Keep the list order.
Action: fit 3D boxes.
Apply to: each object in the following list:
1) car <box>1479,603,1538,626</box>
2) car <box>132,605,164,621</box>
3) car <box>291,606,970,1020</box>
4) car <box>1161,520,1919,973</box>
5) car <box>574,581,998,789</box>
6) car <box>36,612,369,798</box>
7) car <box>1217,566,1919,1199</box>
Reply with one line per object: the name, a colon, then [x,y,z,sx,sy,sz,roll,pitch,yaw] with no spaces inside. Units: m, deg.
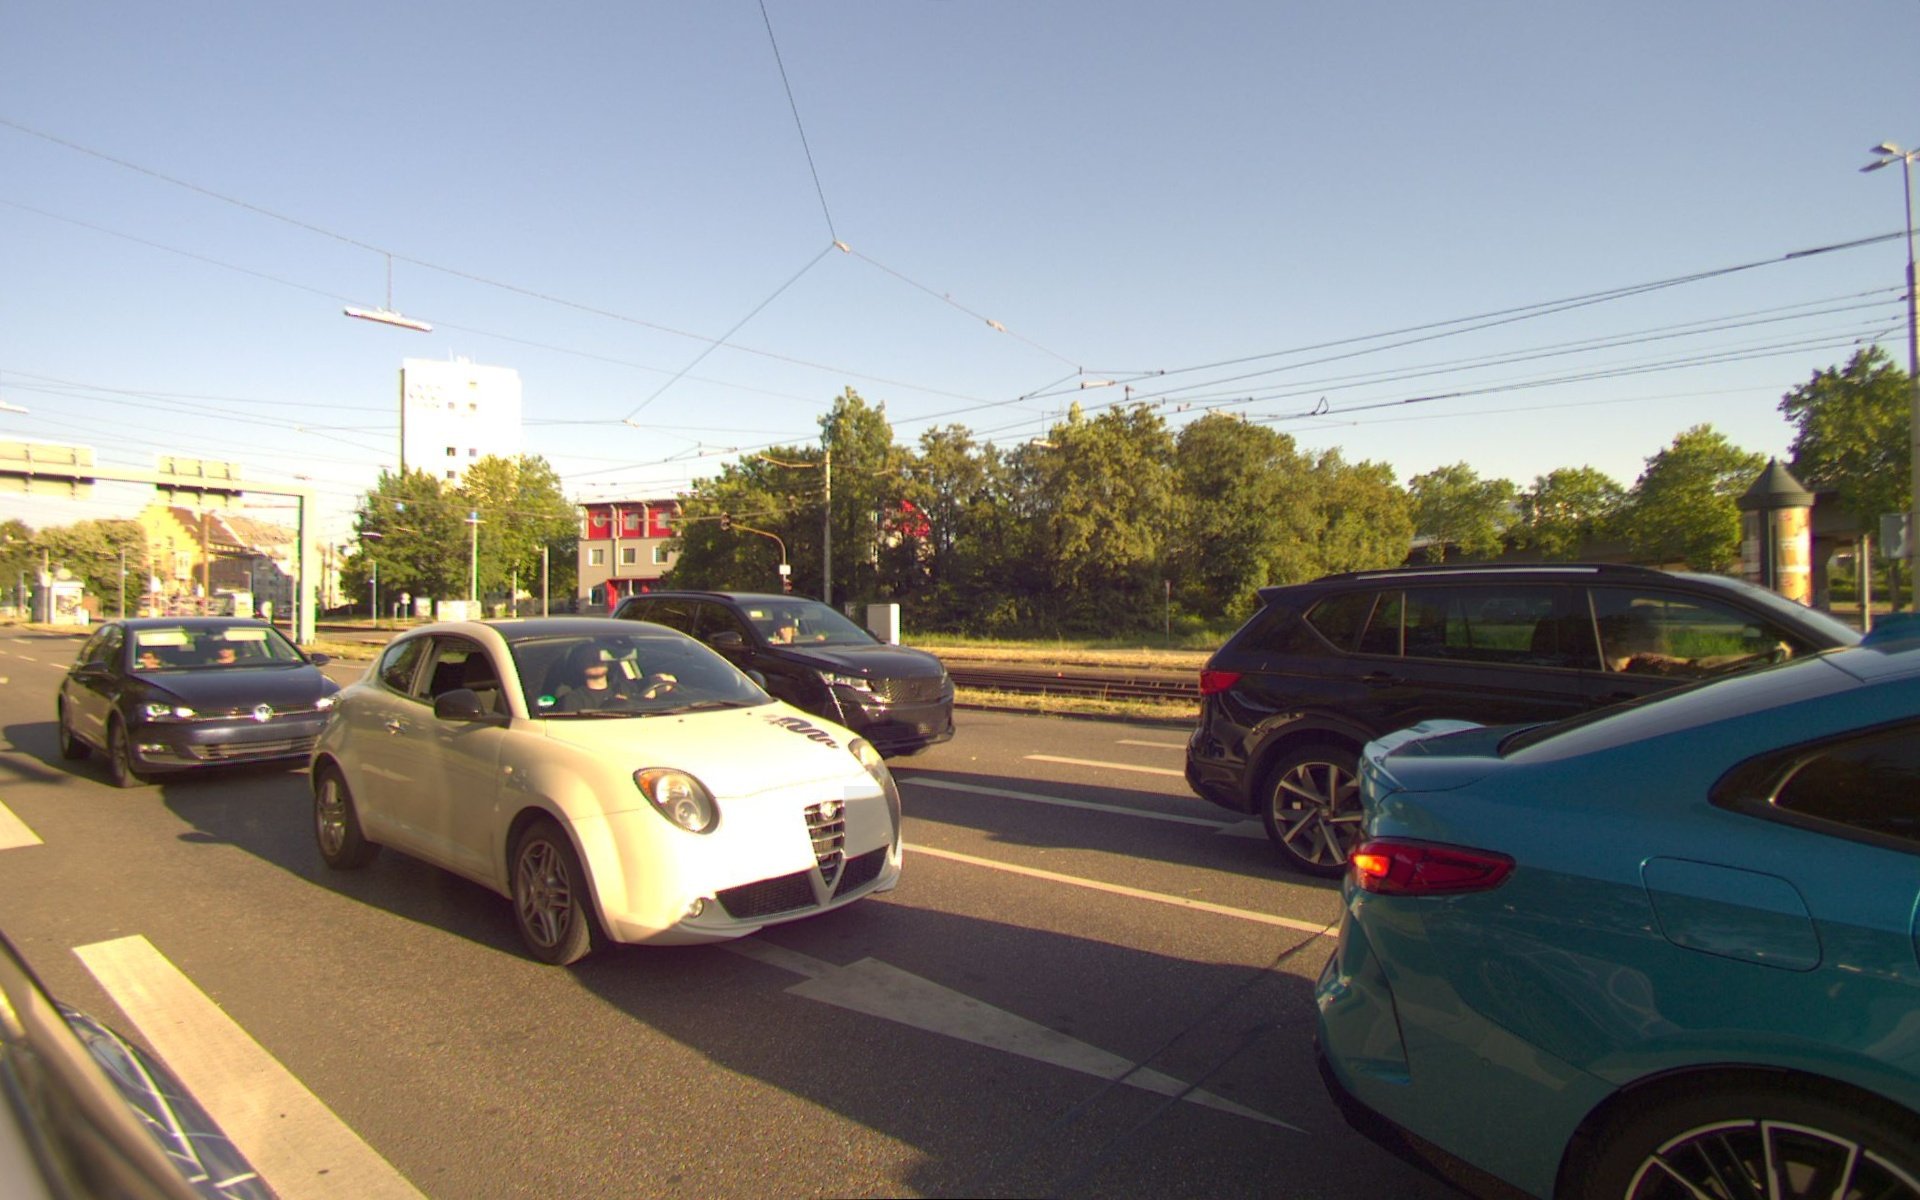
car: [38.067,0.999,70.373,1.973,1.497,3.997,-1,-2,2]
car: [-109.304,1.768,136.247,1.966,2.029,4.012,-1,0,-17]
car: [-1.979,0.770,5.427,3.921,1.441,1.644,-1,-1,40]
car: [3.525,0.564,5.079,4.598,1.694,1.896,-1,-1,40]
car: [-1.969,0.714,10.375,4.601,1.661,1.894,-1,-1,43]
car: [-7.462,0.857,9.844,3.921,1.441,1.759,-1,-1,40]
car: [2.865,0.651,1.489,4.507,1.428,1.767,-1,-1,39]
